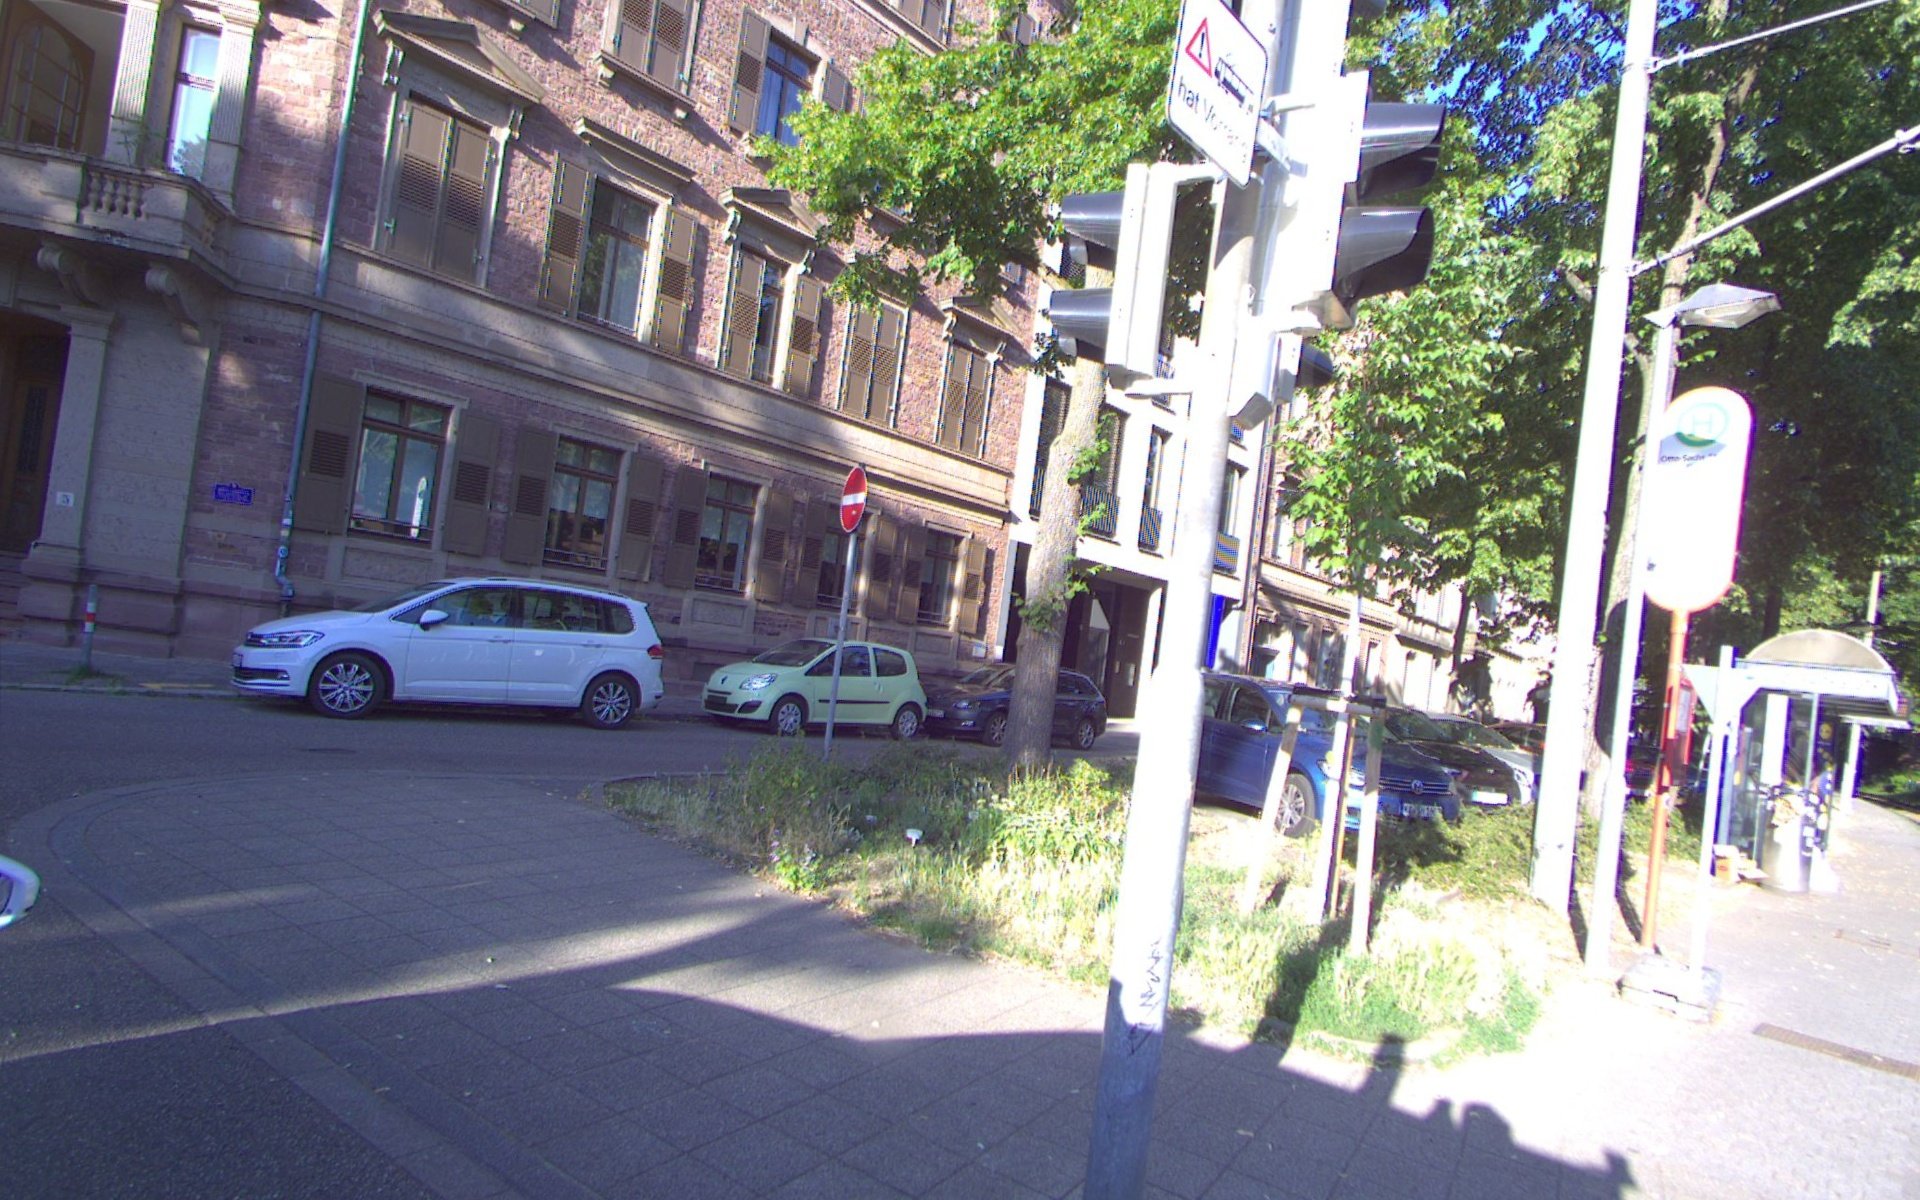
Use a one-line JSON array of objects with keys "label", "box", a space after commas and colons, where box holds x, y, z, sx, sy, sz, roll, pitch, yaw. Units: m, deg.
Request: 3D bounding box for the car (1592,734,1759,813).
[{"label": "car", "box": [23.488, 5.649, 33.240, 1.781, 1.714, 4.274, 9, -2, -12]}]

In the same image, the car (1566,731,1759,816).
[{"label": "car", "box": [19.662, 4.813, 28.408, 1.781, 1.504, 4.274, 9, -2, -12]}]

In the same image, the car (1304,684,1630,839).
[{"label": "car", "box": [7.687, 2.400, 15.864, 1.901, 1.504, 4.540, 9, -2, -15]}]

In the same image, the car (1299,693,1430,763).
[{"label": "car", "box": [12.255, 3.895, 30.304, 1.974, 1.585, 4.572, 7, -3, 44]}]

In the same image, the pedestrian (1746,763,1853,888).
[{"label": "pedestrian", "box": [10.104, 2.679, 12.108, 0.872, 1.287, 0.814, 9, -2, -45]}]

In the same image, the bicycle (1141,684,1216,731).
[{"label": "bicycle", "box": [6.633, 3.265, 30.532, 2.067, 1.129, 0.680, 9, -2, -18]}]

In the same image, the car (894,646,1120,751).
[{"label": "car", "box": [0.963, 1.866, 18.585, 1.721, 1.505, 4.144, 2, -6, 45]}]

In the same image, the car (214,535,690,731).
[{"label": "car", "box": [-5.701, 0.494, 11.738, 1.852, 1.667, 4.476, 2, -6, 45]}]

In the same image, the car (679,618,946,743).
[{"label": "car", "box": [-2.165, 1.280, 15.512, 1.720, 1.505, 3.709, 3, -6, 43]}]

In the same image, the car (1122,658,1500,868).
[{"label": "car", "box": [3.766, 1.708, 11.760, 1.717, 1.705, 4.407, 9, -4, -18]}]

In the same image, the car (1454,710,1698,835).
[{"label": "car", "box": [12.921, 3.561, 21.516, 1.896, 1.741, 4.551, 9, -2, -6]}]

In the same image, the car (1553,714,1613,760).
[{"label": "car", "box": [35.499, 7.834, 57.281, 1.972, 2.197, 4.595, 7, -2, 41]}]

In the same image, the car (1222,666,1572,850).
[{"label": "car", "box": [5.779, 2.031, 14.067, 1.901, 1.653, 4.540, 9, -2, -15]}]

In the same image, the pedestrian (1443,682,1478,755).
[{"label": "pedestrian", "box": [21.383, 5.076, 42.976, 0.908, 2.981, 0.697, 7, -2, 41]}]
